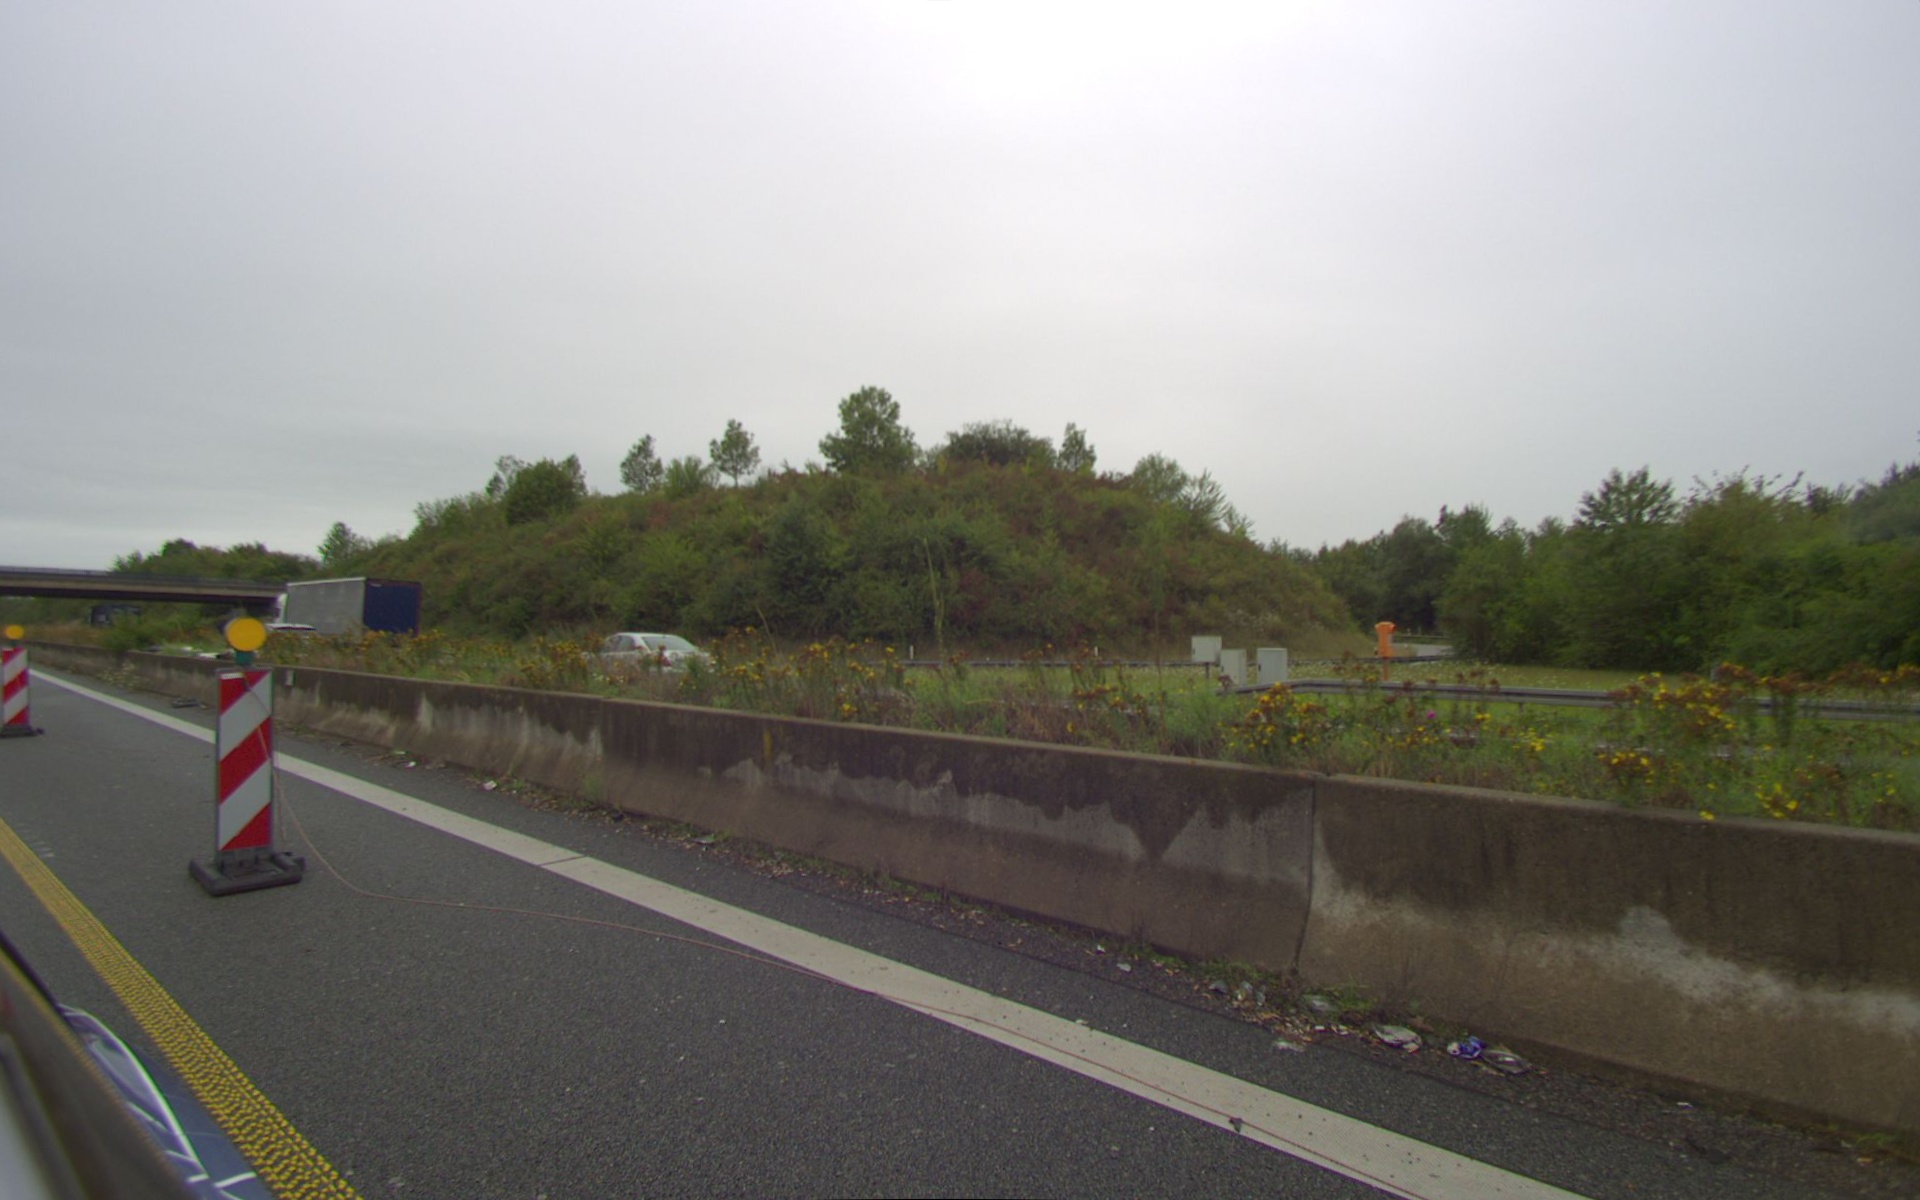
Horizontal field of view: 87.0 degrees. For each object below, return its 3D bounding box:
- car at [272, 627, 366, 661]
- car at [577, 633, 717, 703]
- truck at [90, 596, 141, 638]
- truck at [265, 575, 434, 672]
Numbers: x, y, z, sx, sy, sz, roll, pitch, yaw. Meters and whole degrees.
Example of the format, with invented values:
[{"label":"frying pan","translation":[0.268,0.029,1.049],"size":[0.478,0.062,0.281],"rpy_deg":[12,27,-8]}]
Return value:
[{"label":"car","translation":[-21.368,1.462,33.703],"size":[3.750,1.083,1.661],"rpy_deg":[-2,-3,41]},{"label":"car","translation":[-7.595,1.591,24.411],"size":[3.753,1.539,1.659],"rpy_deg":[-2,-3,45]},{"label":"truck","translation":[-90.445,1.765,108.270],"size":[12.518,4.277,2.646],"rpy_deg":[-1,0,43]},{"label":"truck","translation":[-33.573,1.195,55.001],"size":[17.289,4.559,3.369],"rpy_deg":[-1,-1,43]}]
